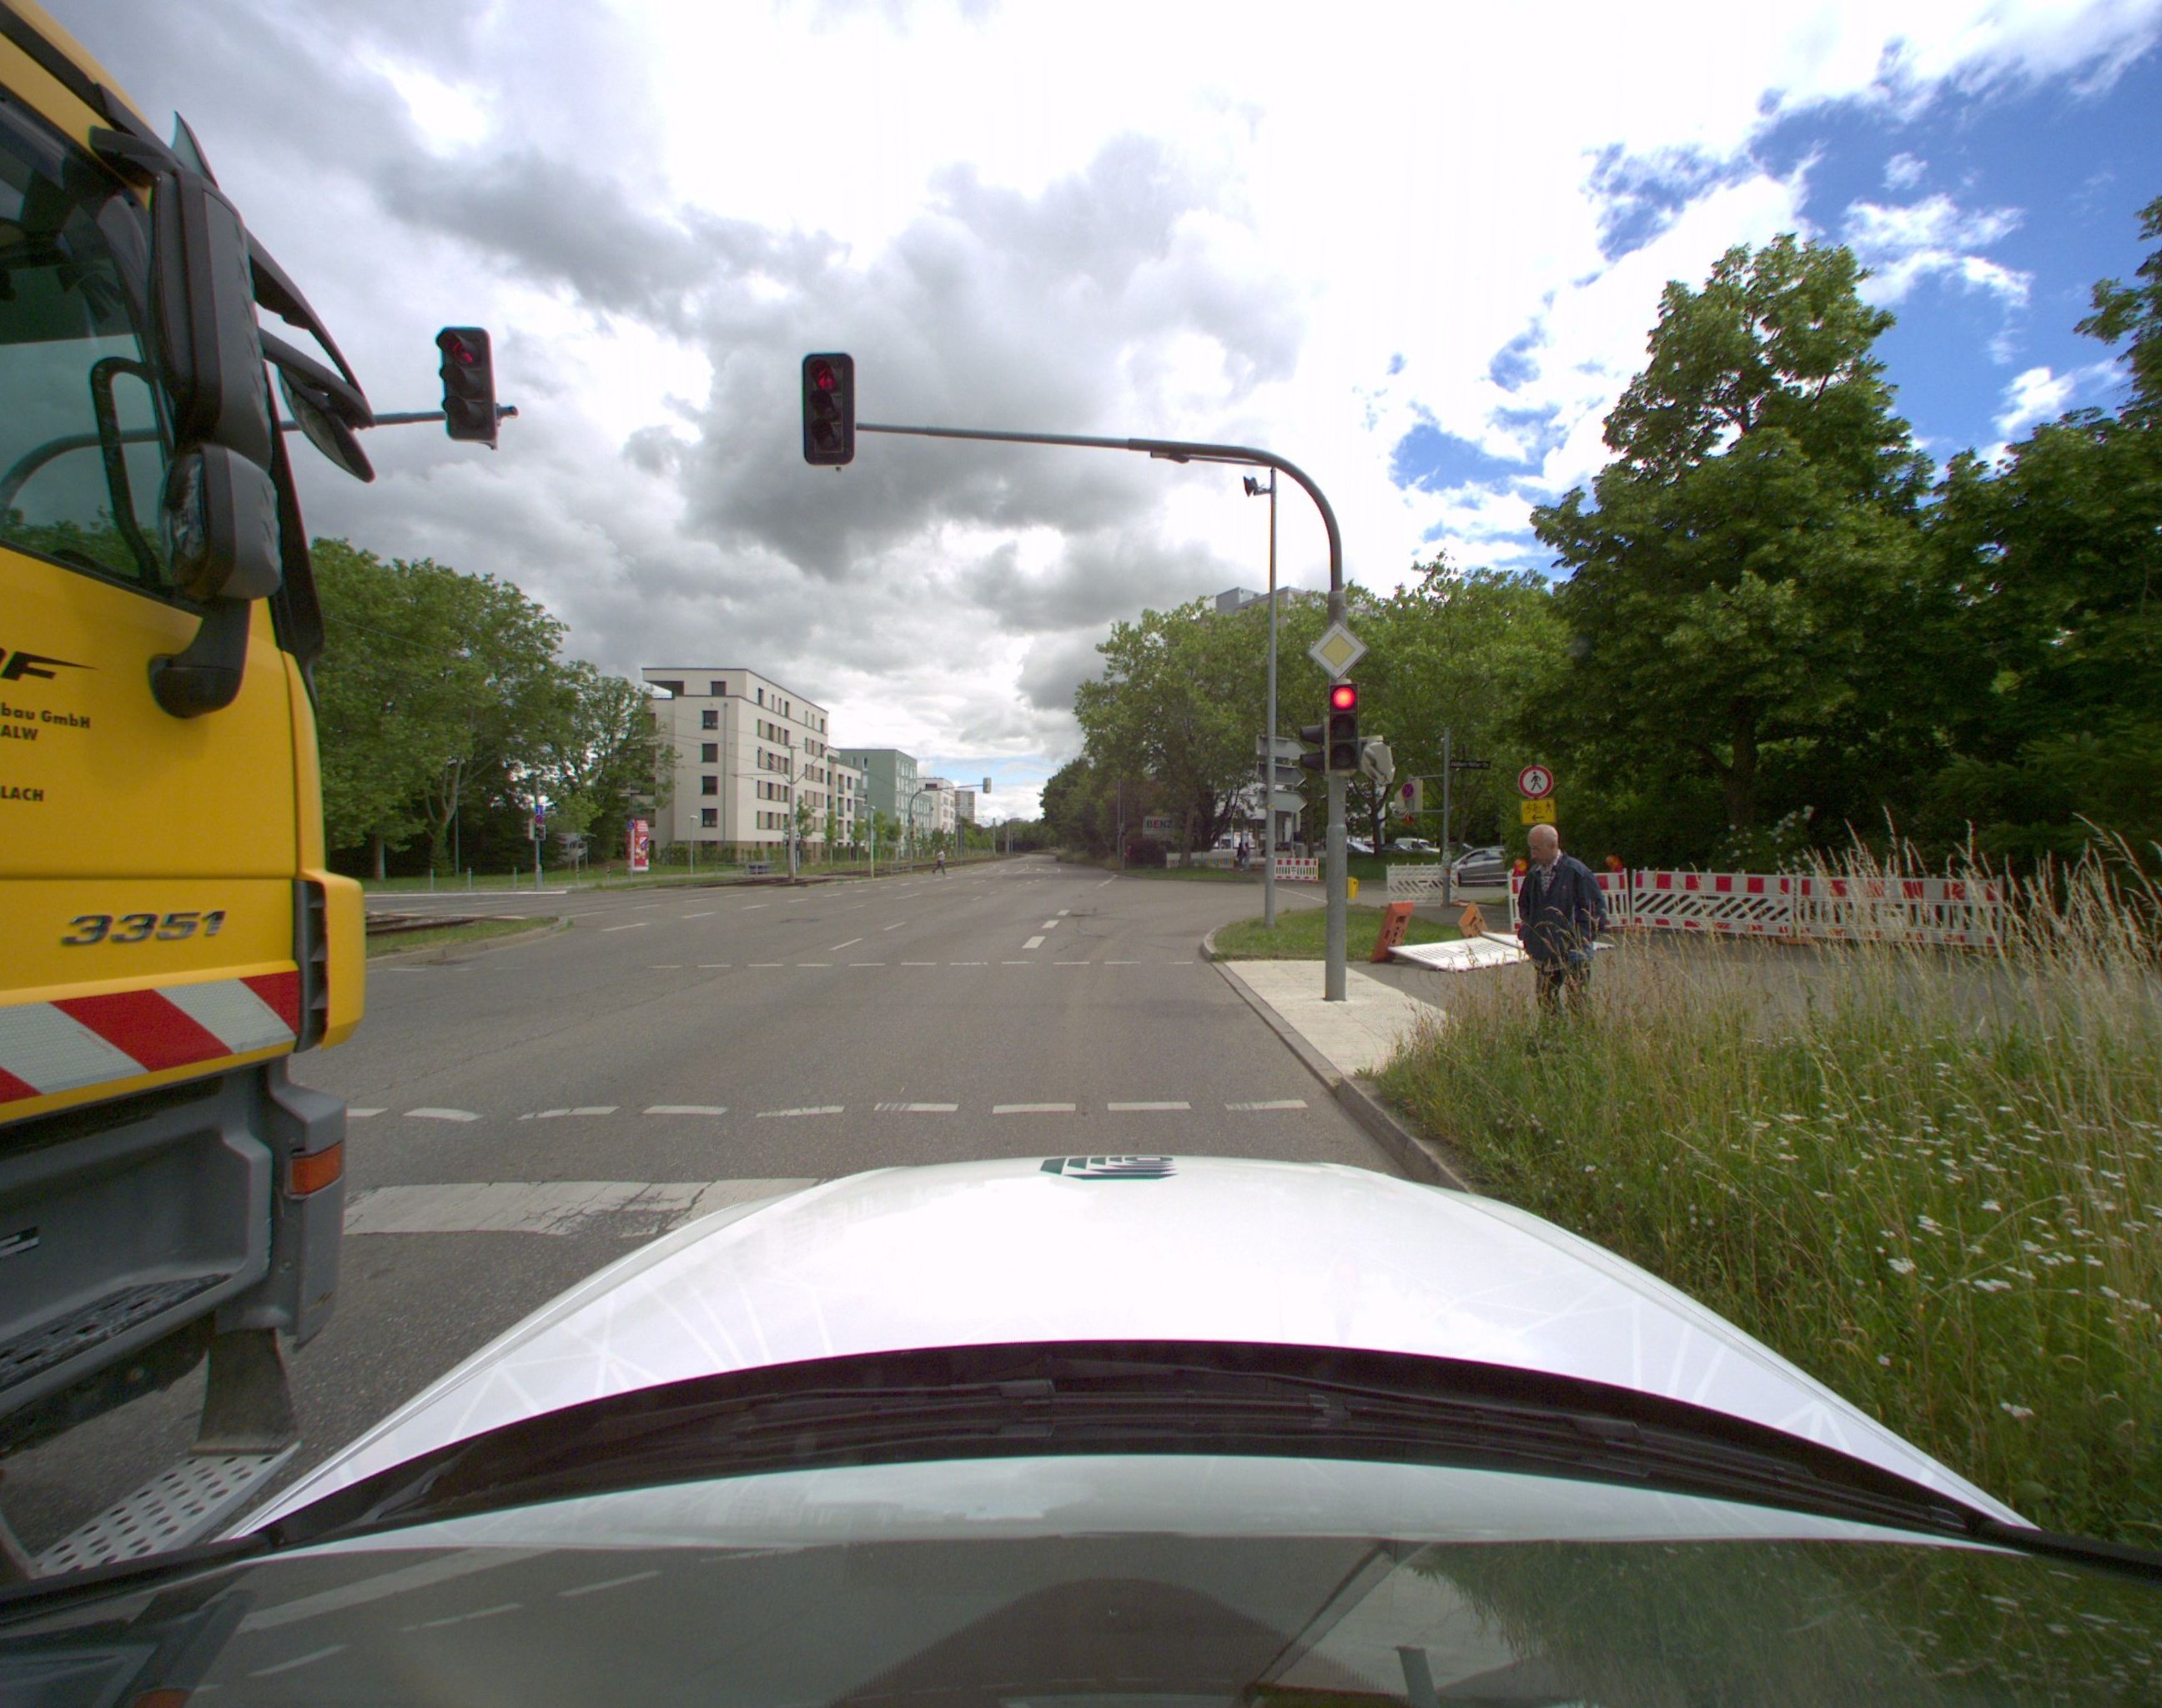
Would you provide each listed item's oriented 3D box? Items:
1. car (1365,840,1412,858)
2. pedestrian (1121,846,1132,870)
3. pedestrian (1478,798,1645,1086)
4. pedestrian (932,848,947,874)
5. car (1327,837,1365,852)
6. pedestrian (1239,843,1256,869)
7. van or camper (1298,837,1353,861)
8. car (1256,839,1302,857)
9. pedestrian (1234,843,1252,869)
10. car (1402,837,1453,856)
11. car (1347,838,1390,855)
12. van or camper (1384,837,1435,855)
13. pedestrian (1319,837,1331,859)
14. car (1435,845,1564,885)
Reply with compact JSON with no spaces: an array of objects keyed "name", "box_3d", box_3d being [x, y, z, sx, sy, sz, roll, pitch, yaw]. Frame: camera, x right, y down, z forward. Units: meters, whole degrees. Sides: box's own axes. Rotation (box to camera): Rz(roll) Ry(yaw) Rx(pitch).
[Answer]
[{"name":"car","box_3d":[24.321,-0.377,64.524,1.488,1.404,3.378,0,-1,-27]},{"name":"pedestrian","box_3d":[2.896,0.241,51.901,0.650,1.539,0.773,0,-1,2]},{"name":"pedestrian","box_3d":[3.260,0.525,5.516,0.961,1.740,0.719,-1,0,-43]},{"name":"pedestrian","box_3d":[-8.902,0.442,51.228,0.847,1.586,0.794,0,-1,-7]},{"name":"car","box_3d":[25.313,-0.895,77.807,1.489,1.404,3.377,0,-1,-29]},{"name":"pedestrian","box_3d":[9.731,0.106,47.562,0.691,1.489,0.691,0,-1,-40]},{"name":"van or camper","box_3d":[18.481,-0.383,61.726,1.849,1.684,3.967,-1,0,-25]},{"name":"car","box_3d":[17.521,-0.494,72.275,1.736,1.500,4.234,0,-1,-24]},{"name":"pedestrian","box_3d":[9.292,0.109,46.785,0.724,1.489,0.691,0,-1,-42]},{"name":"car","box_3d":[29.022,-0.600,68.345,1.489,1.465,3.856,0,-1,-29]},{"name":"car","box_3d":[28.023,-0.768,79.401,1.677,1.634,3.787,0,1,-28]},{"name":"van or camper","box_3d":[26.978,-0.645,67.056,1.523,1.356,3.738,0,-1,-31]},{"name":"pedestrian","box_3d":[22.265,-0.552,74.346,0.802,2.002,0.852,0,-1,-3]},{"name":"car","box_3d":[17.078,0.455,33.364,4.379,1.586,1.774,0,-1,2]}]
